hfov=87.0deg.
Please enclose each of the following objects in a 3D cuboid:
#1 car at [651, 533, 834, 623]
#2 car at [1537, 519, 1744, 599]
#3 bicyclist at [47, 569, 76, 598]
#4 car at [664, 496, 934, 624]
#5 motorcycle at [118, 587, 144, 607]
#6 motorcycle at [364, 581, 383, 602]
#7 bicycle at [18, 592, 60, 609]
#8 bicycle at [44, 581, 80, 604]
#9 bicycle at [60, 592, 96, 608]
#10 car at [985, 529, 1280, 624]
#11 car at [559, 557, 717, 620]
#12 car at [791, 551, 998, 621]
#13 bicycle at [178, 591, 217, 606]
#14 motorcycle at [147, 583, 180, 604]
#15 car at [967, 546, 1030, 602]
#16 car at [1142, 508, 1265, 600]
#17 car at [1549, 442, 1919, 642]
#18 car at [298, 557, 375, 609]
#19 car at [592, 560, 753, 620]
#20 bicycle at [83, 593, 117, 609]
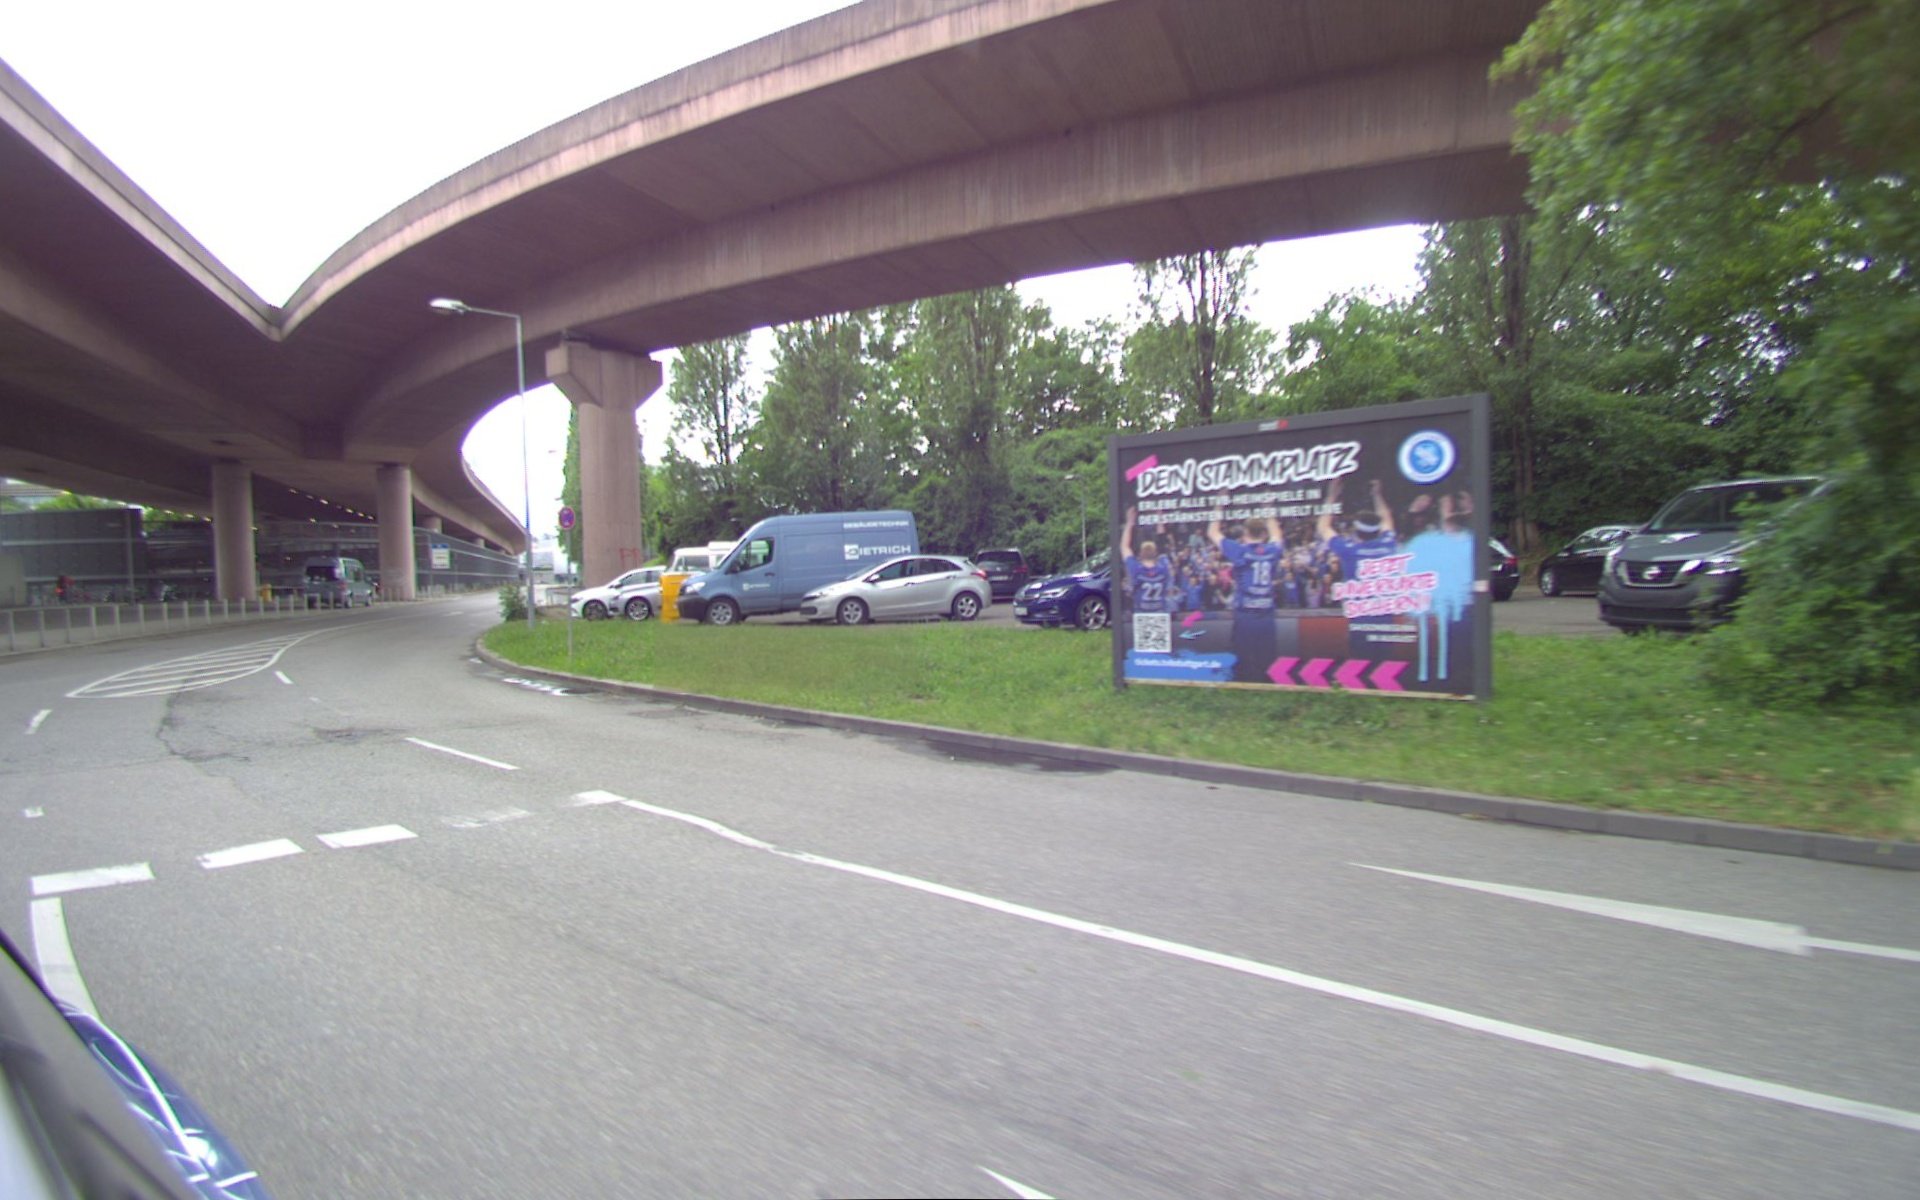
[{"bbox_3d":[-5.737,-0.601,26.800,4.495,2.127,1.855,-3,1,-12],"label":"car"},{"bbox_3d":[14.017,-0.818,21.149,1.769,1.485,3.886,-1,1,2],"label":"car"},{"bbox_3d":[-44.103,-0.813,49.686,0.785,1.416,1.070,0,1,-26],"label":"bicyclist"},{"bbox_3d":[-3.922,-0.980,24.591,6.092,2.745,2.374,-3,1,-14],"label":"car"},{"bbox_3d":[-51.212,-0.183,62.563,0.535,1.114,2.337,-1,-3,-21],"label":"motorcycle"},{"bbox_3d":[-39.929,-0.567,68.874,0.785,1.377,2.134,-1,0,-38],"label":"motorcycle"},{"bbox_3d":[-58.466,0.034,64.250,2.028,1.031,0.397,-2,0,-15],"label":"bicycle"},{"bbox_3d":[-44.146,-0.366,49.782,0.790,1.106,2.138,0,1,-26],"label":"bicycle"},{"bbox_3d":[-56.473,0.021,64.809,1.705,0.989,0.438,-2,0,-23],"label":"bicycle"},{"bbox_3d":[3.048,-0.416,17.873,4.769,1.499,2.084,-1,1,-24],"label":"car"},{"bbox_3d":[-9.857,-0.364,31.297,4.326,1.617,1.958,-4,2,-8],"label":"car"},{"bbox_3d":[-1.485,-0.331,22.339,4.220,1.426,2.006,-1,1,-16],"label":"car"},{"bbox_3d":[-50.758,-0.115,67.369,1.985,0.933,0.420,-2,0,-30],"label":"bicycle"},{"bbox_3d":[-49.661,-0.383,63.128,0.771,1.244,2.544,0,-1,-18],"label":"motorcycle"},{"bbox_3d":[1.309,-0.810,32.730,1.877,1.688,4.149,0,1,4],"label":"car"},{"bbox_3d":[6.482,-1.189,27.569,2.094,2.271,5.018,0,1,0],"label":"car"},{"bbox_3d":[10.170,-0.693,12.385,5.019,2.087,2.267,-1,2,-17],"label":"car"},{"bbox_3d":[-33.319,-0.917,54.270,1.966,2.632,6.093,0,1,-17],"label":"car"},{"bbox_3d":[-8.128,-0.302,28.976,4.189,1.381,2.005,-4,2,-10],"label":"car"},{"bbox_3d":[-61.258,0.047,72.104,1.758,1.087,0.438,-2,0,-31],"label":"bicycle"}]
